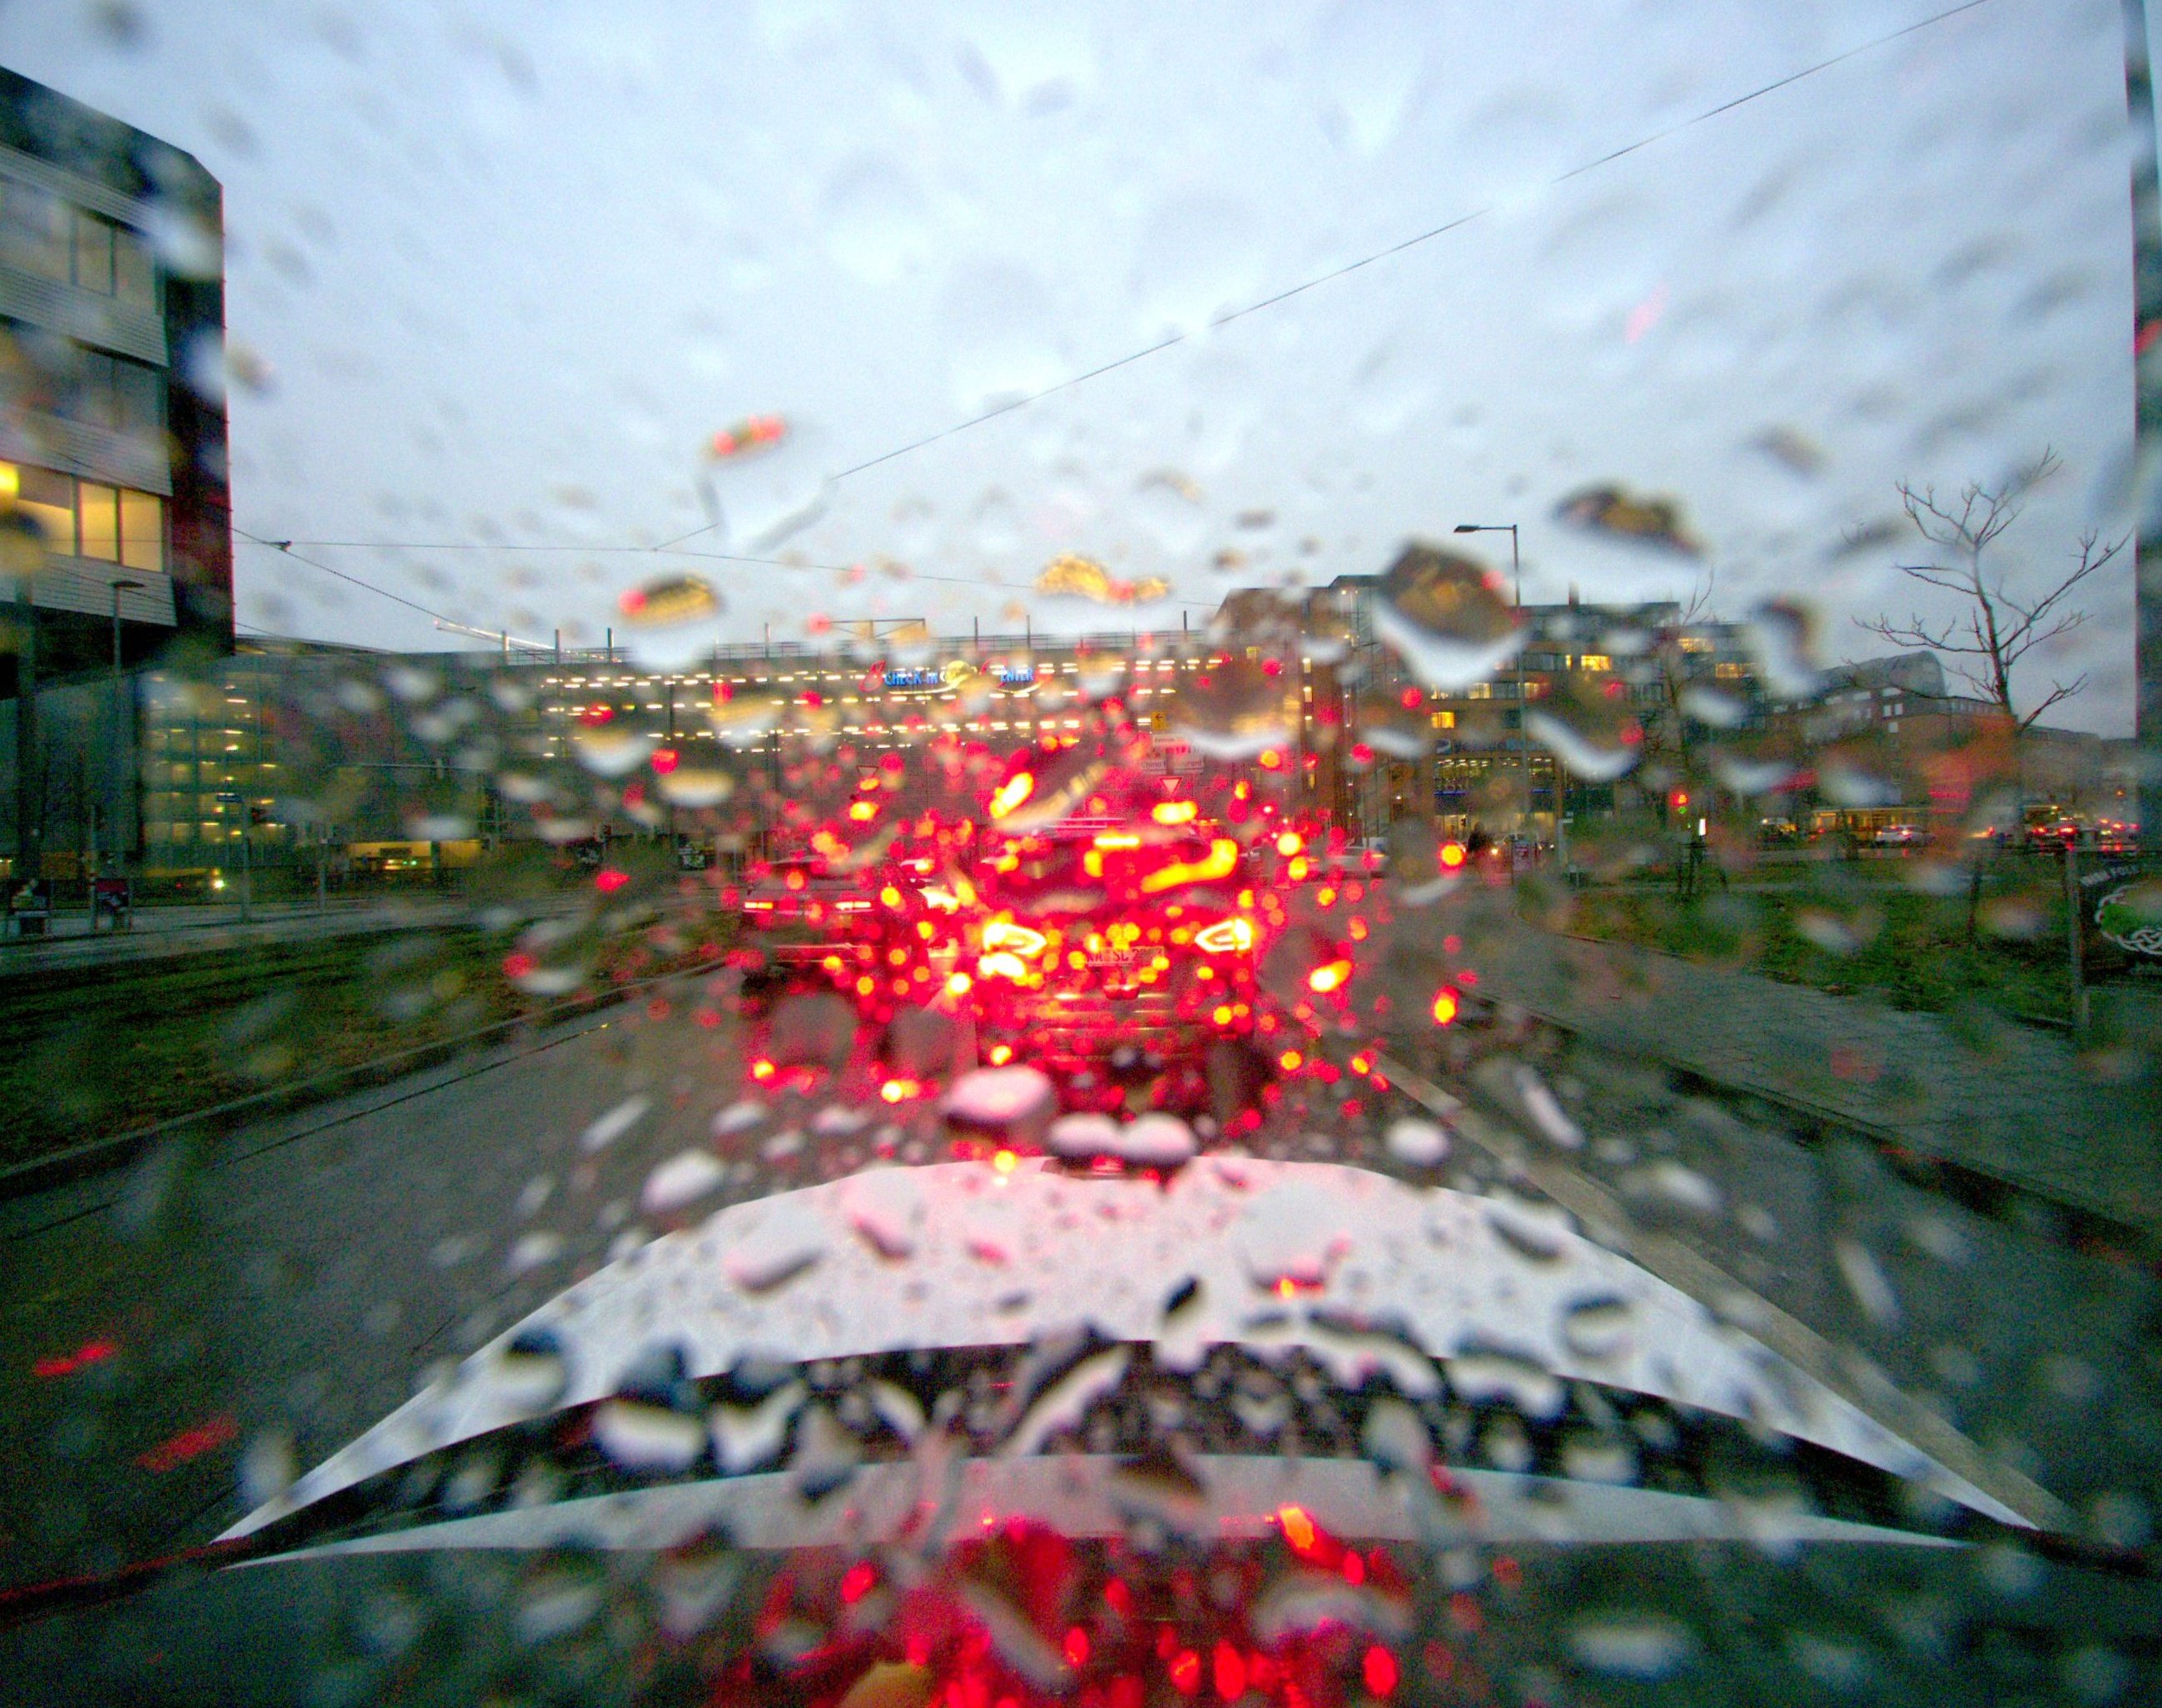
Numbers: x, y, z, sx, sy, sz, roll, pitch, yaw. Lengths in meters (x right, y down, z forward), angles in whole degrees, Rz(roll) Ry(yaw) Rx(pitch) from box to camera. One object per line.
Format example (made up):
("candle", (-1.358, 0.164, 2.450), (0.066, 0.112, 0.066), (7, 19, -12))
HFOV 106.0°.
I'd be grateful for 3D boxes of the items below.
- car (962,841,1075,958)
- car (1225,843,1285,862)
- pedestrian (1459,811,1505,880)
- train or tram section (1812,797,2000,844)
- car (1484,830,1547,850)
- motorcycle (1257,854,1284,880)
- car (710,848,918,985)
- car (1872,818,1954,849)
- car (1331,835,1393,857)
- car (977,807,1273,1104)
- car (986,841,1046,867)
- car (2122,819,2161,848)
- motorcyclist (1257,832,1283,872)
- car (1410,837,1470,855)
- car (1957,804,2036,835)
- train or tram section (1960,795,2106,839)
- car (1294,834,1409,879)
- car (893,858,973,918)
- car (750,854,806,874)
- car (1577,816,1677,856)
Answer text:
("car", (-0.996, 0.672, 13.831), (1.632, 1.697, 3.667), (-1, 0, -3))
("car", (14.128, -0.123, 66.368), (4.413, 1.390, 1.796), (-2, 0, -6))
("pedestrian", (11.559, -0.242, 23.525), (1.159, 1.924, 0.904), (1, 0, 25))
("train or tram section", (65.754, -2.727, 64.812), (16.626, 3.260, 2.326), (-2, 0, -14))
("car", (36.745, -1.203, 68.885), (4.425, 1.534, 1.796), (-2, 0, -6))
("motorcycle", (7.339, 0.490, 31.616), (0.848, 0.972, 1.585), (-2, 0, 7))
("car", (-3.586, 0.748, 11.715), (1.748, 1.574, 3.997), (-2, 0, -2))
("car", (56.653, -1.372, 55.504), (3.985, 2.013, 1.994), (0, 0, -9))
("car", (22.965, -0.631, 66.587), (4.413, 1.595, 1.796), (-2, 0, -6))
("car", (0.253, 0.591, 6.923), (1.730, 1.738, 4.246), (1, 0, 0))
("car", (-5.440, -0.027, 68.118), (4.831, 2.000, 1.797), (-2, 0, -5))
("car", (76.688, -1.439, 57.772), (4.362, 2.013, 1.990), (0, 0, -15))
("motorcyclist", (7.328, -0.077, 31.632), (0.863, 1.534, 1.110), (-2, 0, 7))
("car", (29.872, -0.656, 67.787), (4.209, 1.390, 1.796), (-2, 0, -6))
("car", (64.437, -2.382, 57.331), (4.948, 2.013, 1.987), (0, 0, -20))
("train or tram section", (79.881, -3.117, 68.271), (12.974, 3.260, 2.326), (-2, 0, -14))
("car", (12.425, 0.128, 37.510), (4.664, 1.851, 1.827), (-2, -1, -7))
("car", (-3.485, 0.742, 19.701), (1.538, 1.251, 4.059), (-1, 0, -6))
("car", (-25.166, 0.843, 67.779), (3.978, 1.618, 1.736), (1, 0, -4))
("car", (28.139, -0.922, 42.002), (3.987, 1.874, 1.994), (-3, 1, -10))
